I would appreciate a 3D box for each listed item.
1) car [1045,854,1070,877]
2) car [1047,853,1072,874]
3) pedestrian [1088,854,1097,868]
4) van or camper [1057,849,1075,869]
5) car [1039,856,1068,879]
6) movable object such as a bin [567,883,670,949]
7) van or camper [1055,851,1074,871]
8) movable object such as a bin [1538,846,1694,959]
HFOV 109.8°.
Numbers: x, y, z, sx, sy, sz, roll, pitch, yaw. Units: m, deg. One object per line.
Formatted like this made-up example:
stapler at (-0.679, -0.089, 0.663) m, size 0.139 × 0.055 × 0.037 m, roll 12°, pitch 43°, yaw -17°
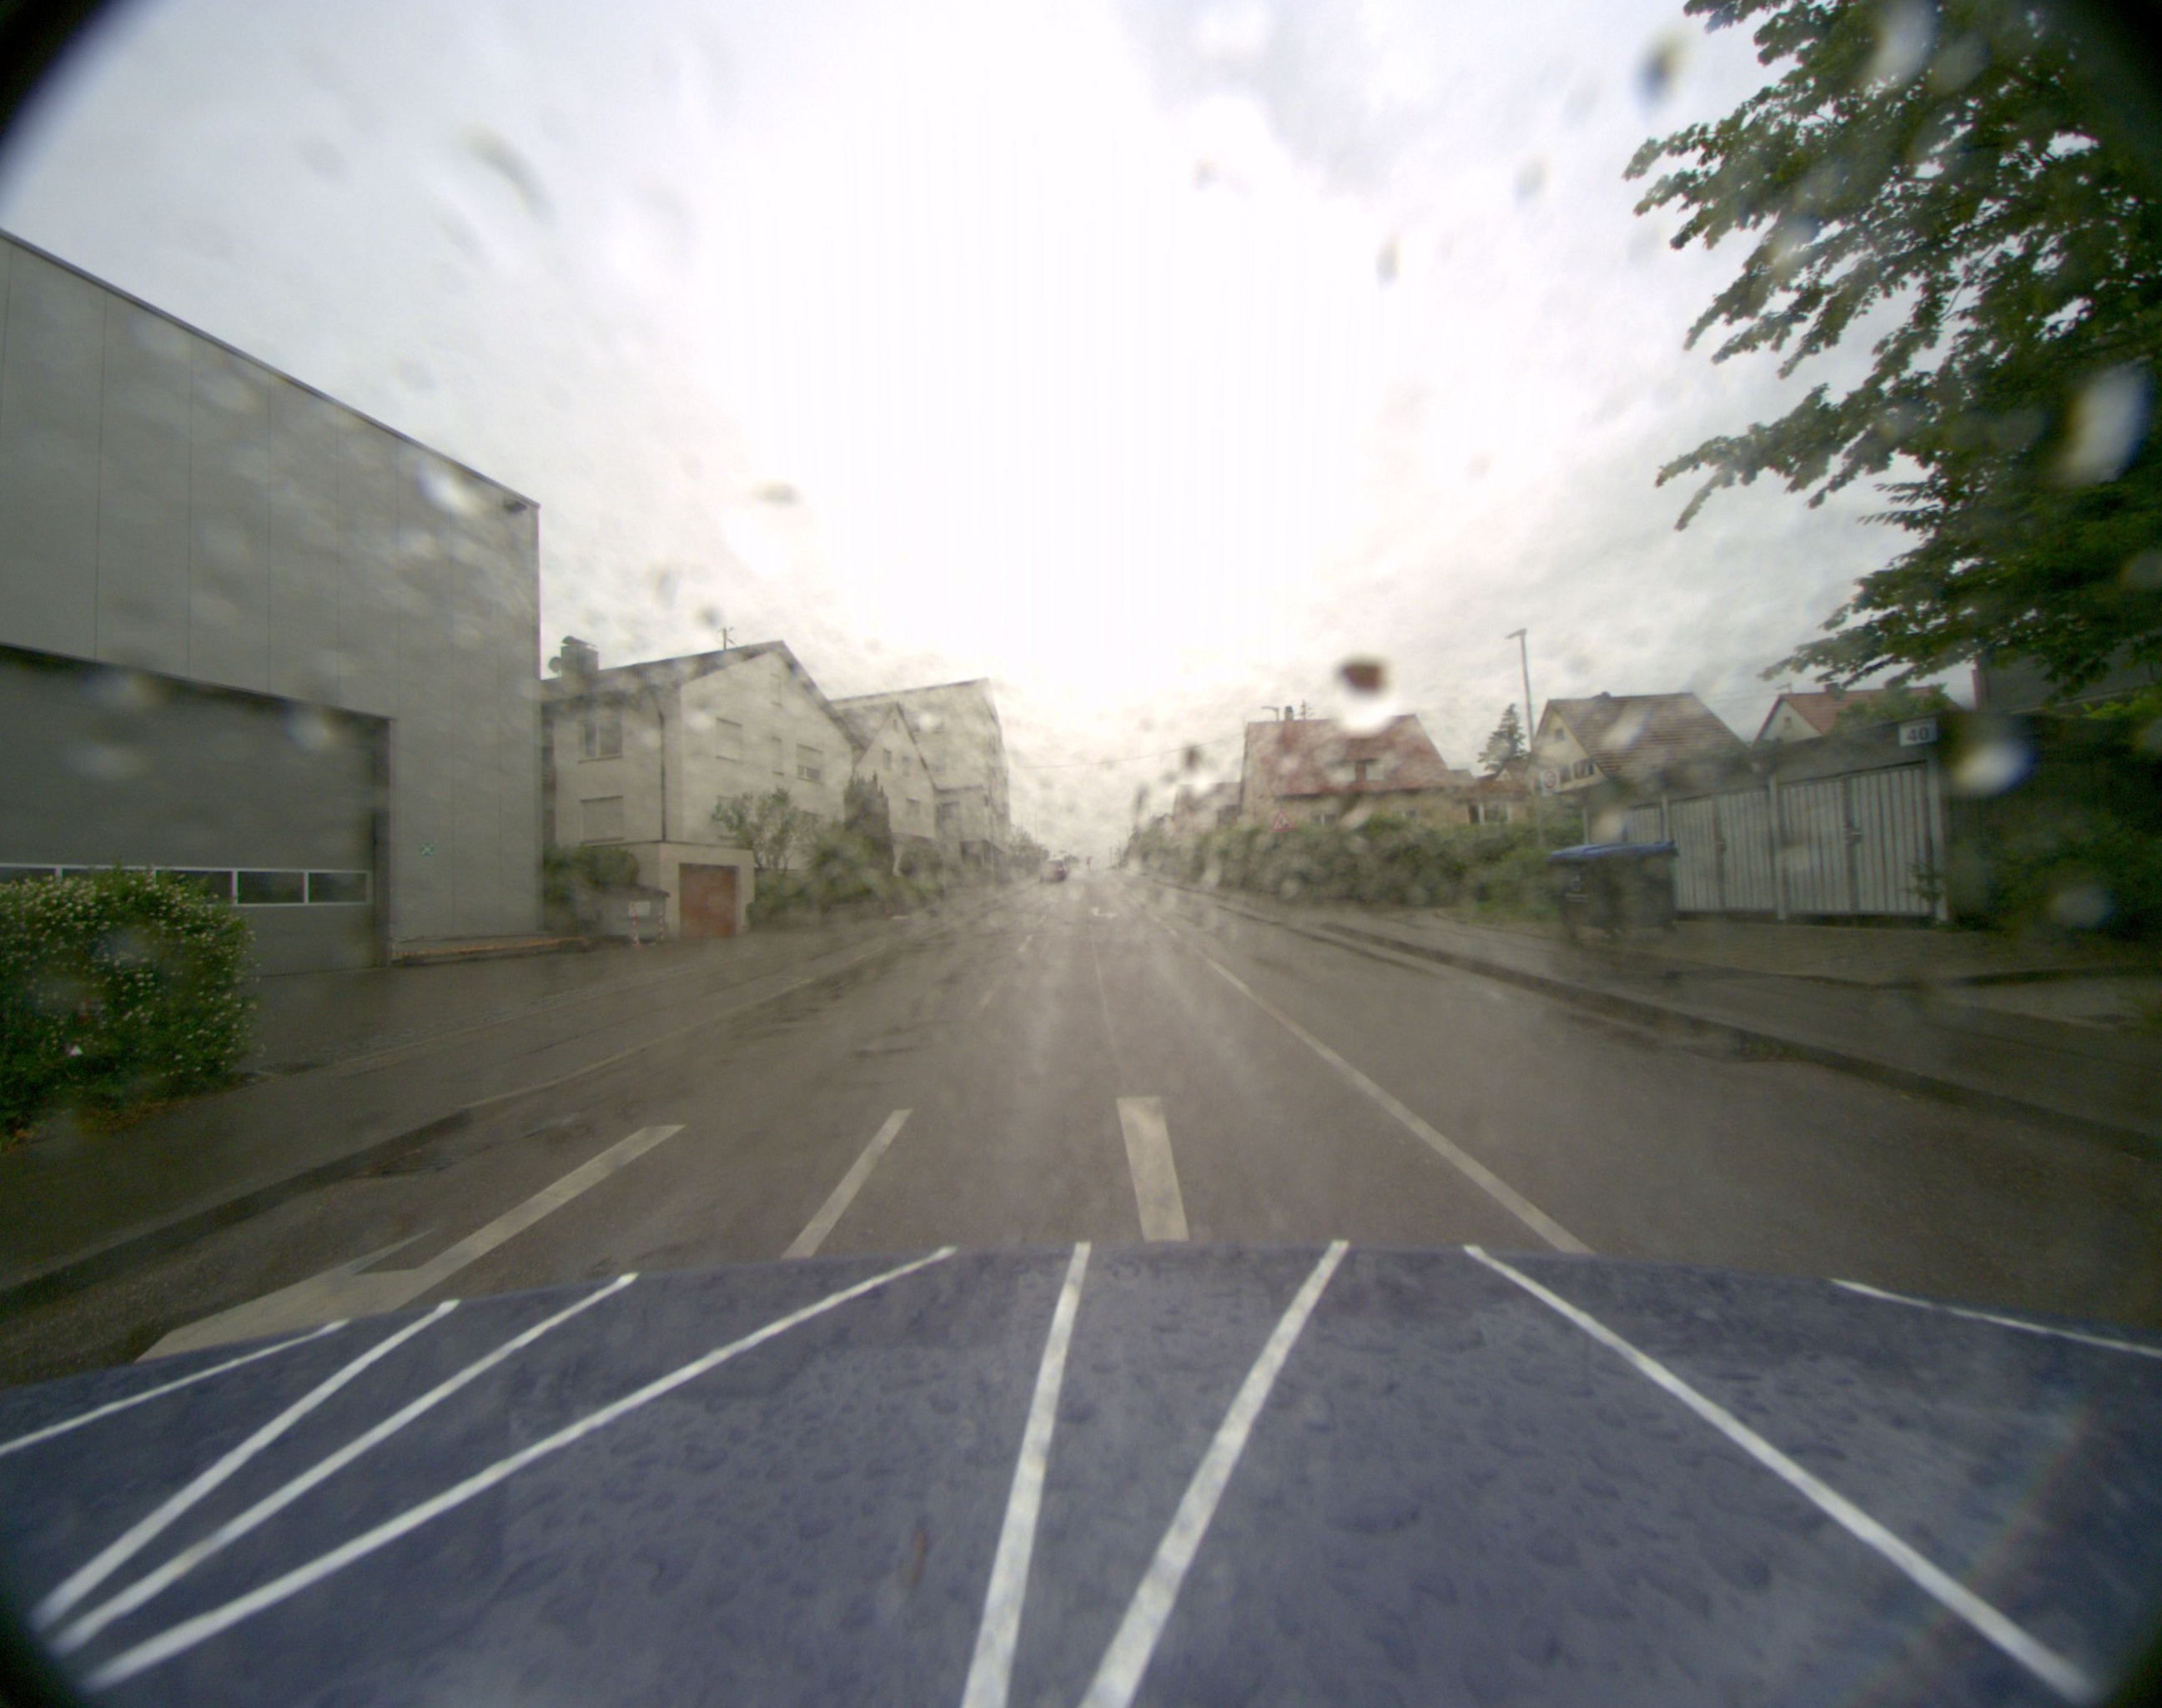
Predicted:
car at (-2.005, 0.976, 66.726) m, size 1.883 × 1.823 × 4.489 m, roll -3°, pitch 0°, yaw 1°
car at (-2.000, 0.869, 72.503) m, size 1.998 × 1.923 × 4.976 m, roll -3°, pitch 0°, yaw 1°
pedestrian at (1.587, 0.962, 103.813) m, size 1.063 × 1.924 × 1.091 m, roll -3°, pitch 0°, yaw -3°
van or camper at (-1.816, 0.606, 92.381) m, size 1.998 × 2.229 × 5.441 m, roll -2°, pitch 0°, yaw 0°
car at (-2.165, 1.063, 61.499) m, size 1.998 × 1.635 × 4.958 m, roll -3°, pitch 0°, yaw 1°
movable object such as a bin at (-11.516, 1.516, 19.012) m, size 1.263 × 1.509 × 1.781 m, roll -2°, pitch 0°, yaw 16°
van or camper at (-1.833, 0.797, 86.243) m, size 1.998 × 2.101 × 5.203 m, roll -2°, pitch 0°, yaw 0°
movable object such as a bin at (7.149, 0.612, 10.241) m, size 1.074 × 1.339 × 1.319 m, roll -4°, pitch 0°, yaw -1°
